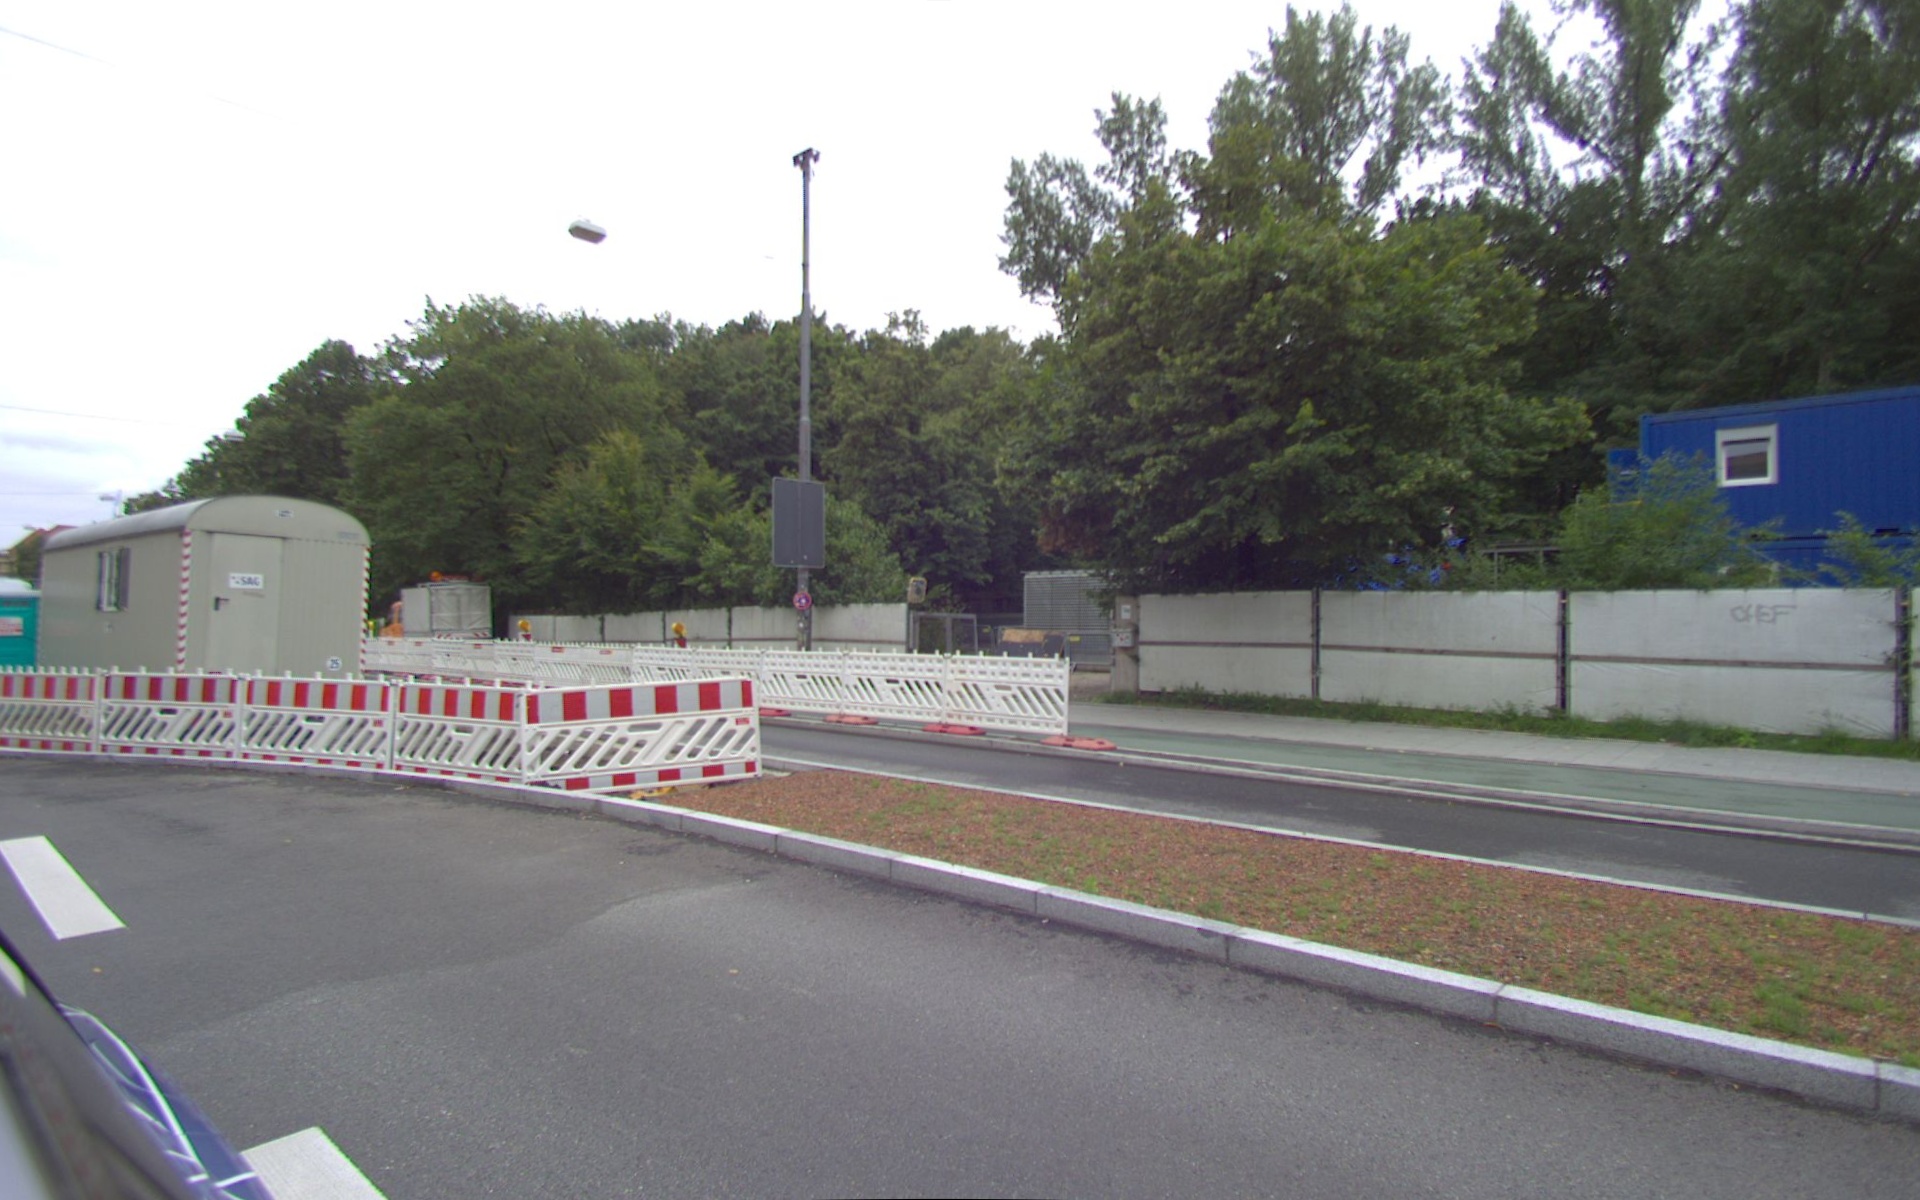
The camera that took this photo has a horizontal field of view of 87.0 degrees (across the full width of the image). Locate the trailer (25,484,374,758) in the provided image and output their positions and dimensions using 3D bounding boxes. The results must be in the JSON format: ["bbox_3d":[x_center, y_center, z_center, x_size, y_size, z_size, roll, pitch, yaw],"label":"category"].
[{"bbox_3d":[-11.657,0.347,15.204,7.506,3.268,2.206,-2,-2,37],"label":"trailer"}]

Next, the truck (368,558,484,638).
[{"bbox_3d":[-19.874,0.034,37.509,5.869,2.749,1.972,-2,-2,43],"label":"truck"}]
